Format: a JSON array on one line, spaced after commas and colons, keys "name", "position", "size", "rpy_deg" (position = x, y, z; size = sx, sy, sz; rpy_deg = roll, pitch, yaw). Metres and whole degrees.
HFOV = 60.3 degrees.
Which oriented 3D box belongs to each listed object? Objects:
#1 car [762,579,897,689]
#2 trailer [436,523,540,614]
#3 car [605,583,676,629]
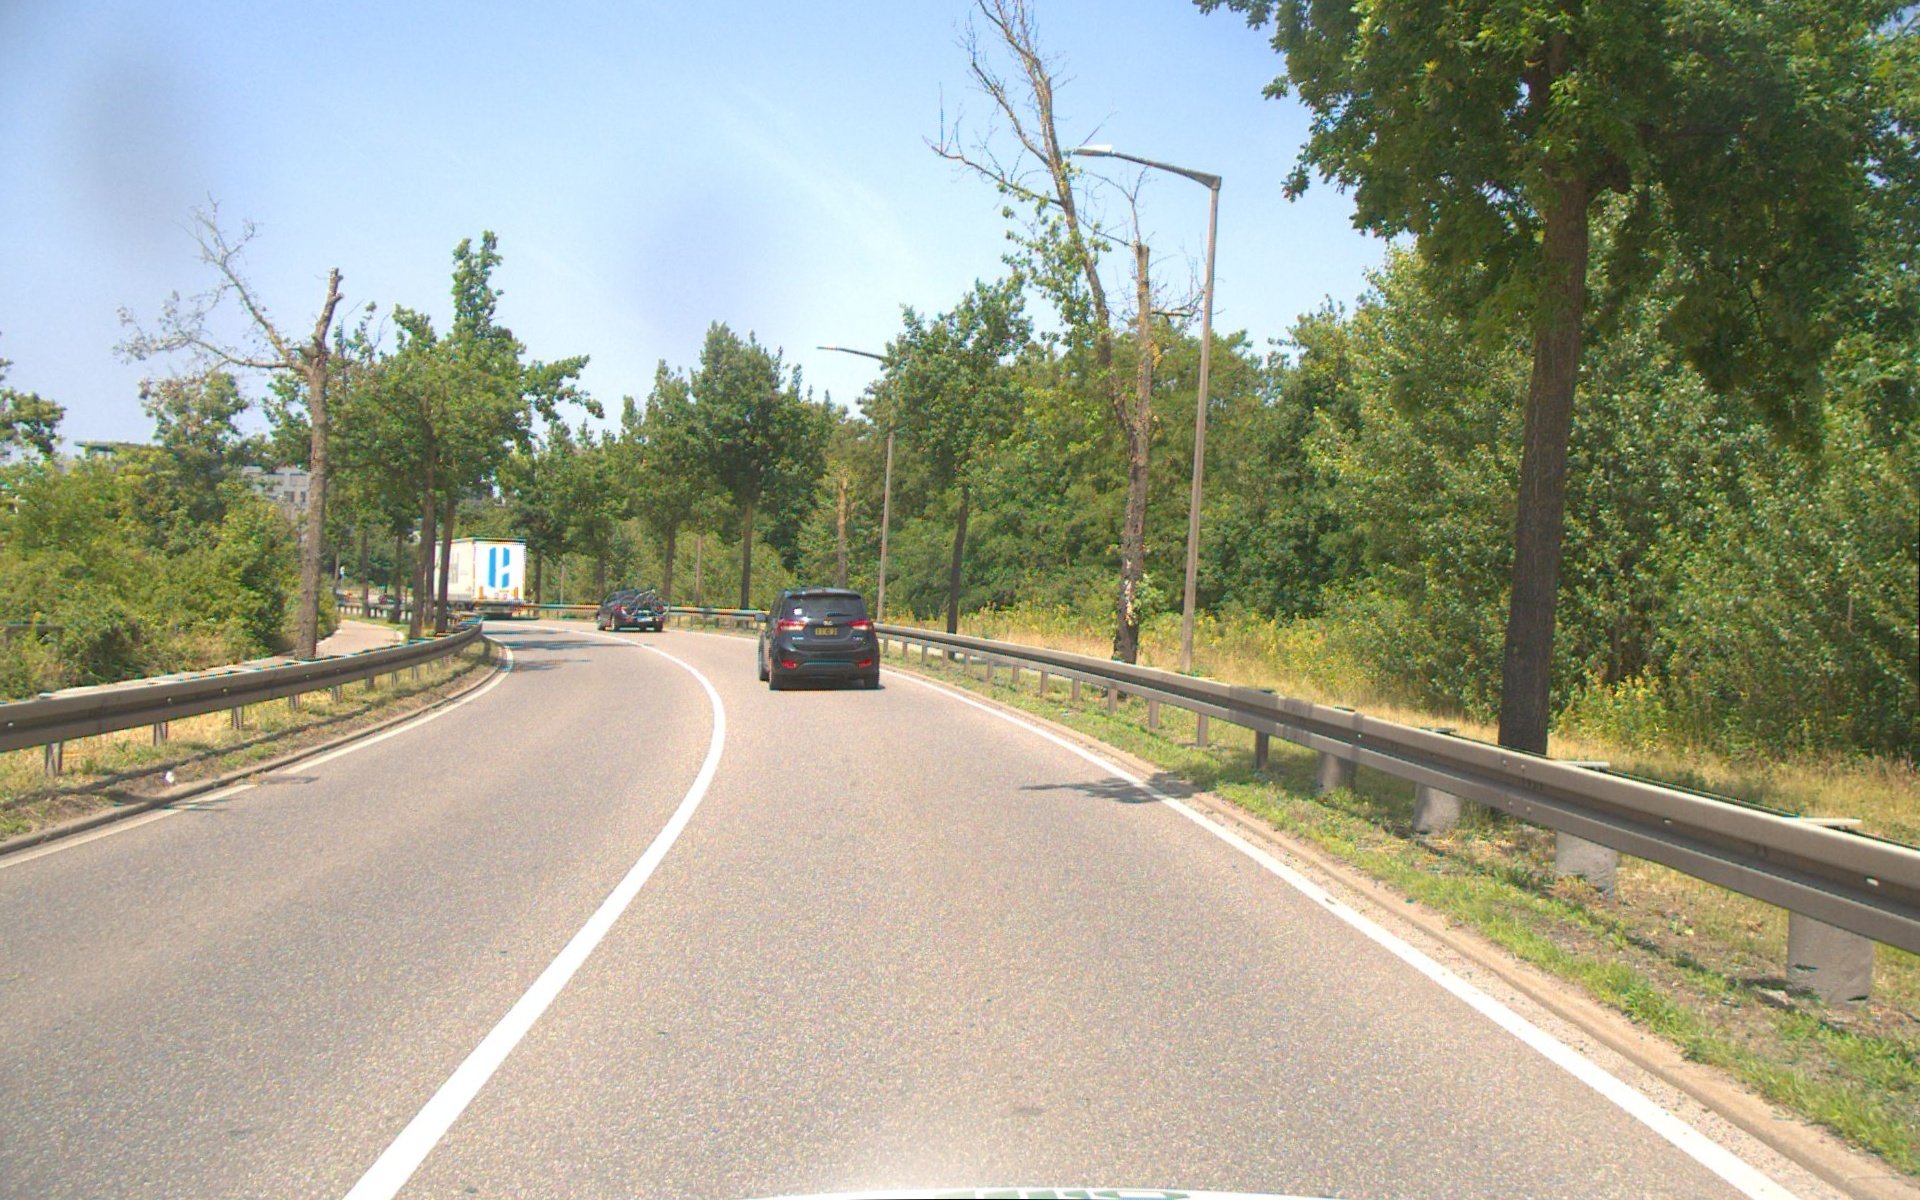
[{"name": "car", "position": [-2.234, 0.508, 27.429], "size": [1.886, 1.601, 3.883], "rpy_deg": [1, 2, -10]}, {"name": "trailer", "position": [-24.749, -1.717, 86.274], "size": [3.524, 4.460, 11.352], "rpy_deg": [0, 2, -25]}, {"name": "car", "position": [-11.215, 0.179, 57.890], "size": [1.980, 1.454, 3.758], "rpy_deg": [0, 2, -18]}]
